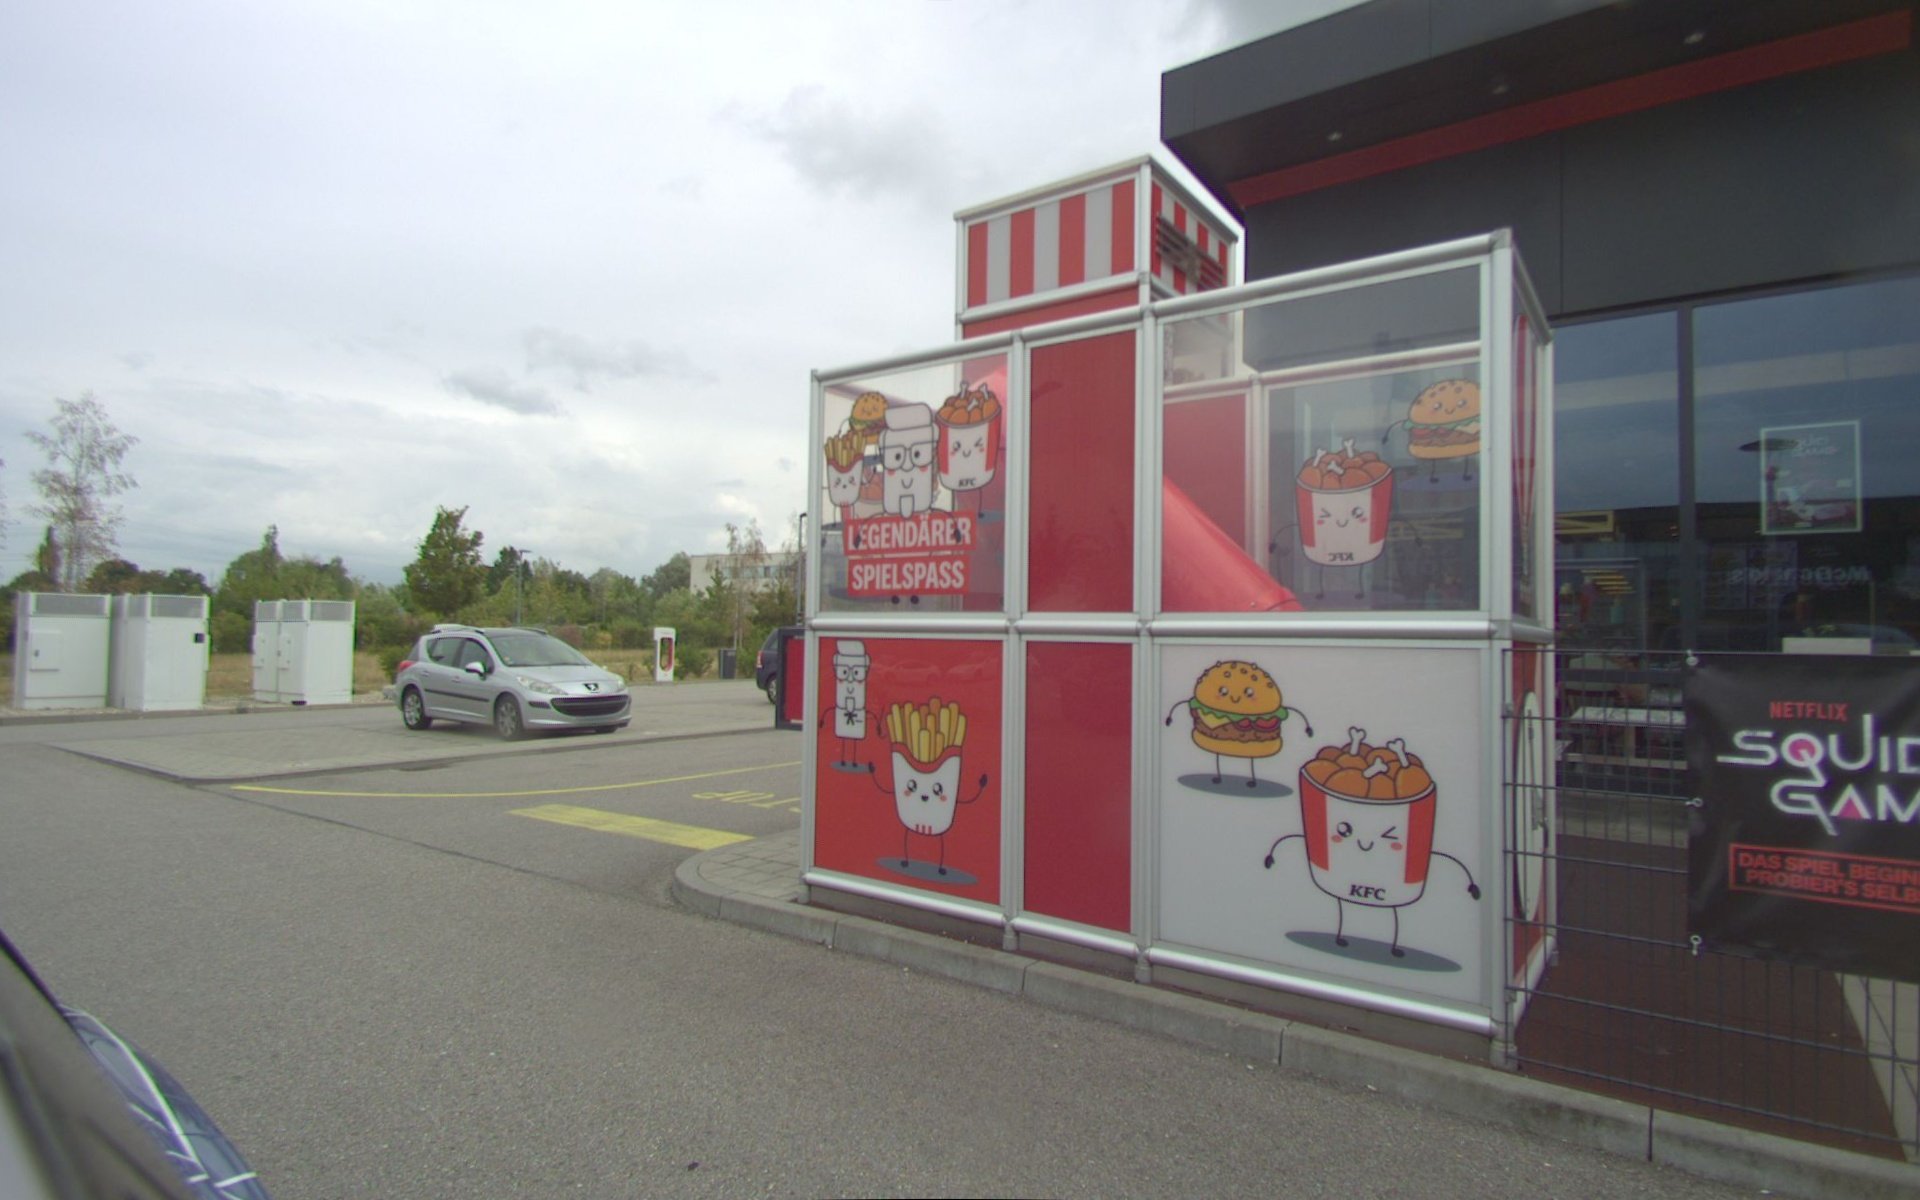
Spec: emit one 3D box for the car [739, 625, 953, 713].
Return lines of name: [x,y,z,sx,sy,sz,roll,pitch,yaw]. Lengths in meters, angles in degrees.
car: [-2.404,1.370,20.744,4.476,1.629,1.566,-2,-4,36]

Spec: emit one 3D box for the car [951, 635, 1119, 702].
car: [1.654,1.551,23.000,3.679,1.405,1.413,-3,-5,39]

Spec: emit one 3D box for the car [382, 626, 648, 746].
car: [-6.506,1.165,14.645,4.159,1.516,1.609,-2,-4,36]
